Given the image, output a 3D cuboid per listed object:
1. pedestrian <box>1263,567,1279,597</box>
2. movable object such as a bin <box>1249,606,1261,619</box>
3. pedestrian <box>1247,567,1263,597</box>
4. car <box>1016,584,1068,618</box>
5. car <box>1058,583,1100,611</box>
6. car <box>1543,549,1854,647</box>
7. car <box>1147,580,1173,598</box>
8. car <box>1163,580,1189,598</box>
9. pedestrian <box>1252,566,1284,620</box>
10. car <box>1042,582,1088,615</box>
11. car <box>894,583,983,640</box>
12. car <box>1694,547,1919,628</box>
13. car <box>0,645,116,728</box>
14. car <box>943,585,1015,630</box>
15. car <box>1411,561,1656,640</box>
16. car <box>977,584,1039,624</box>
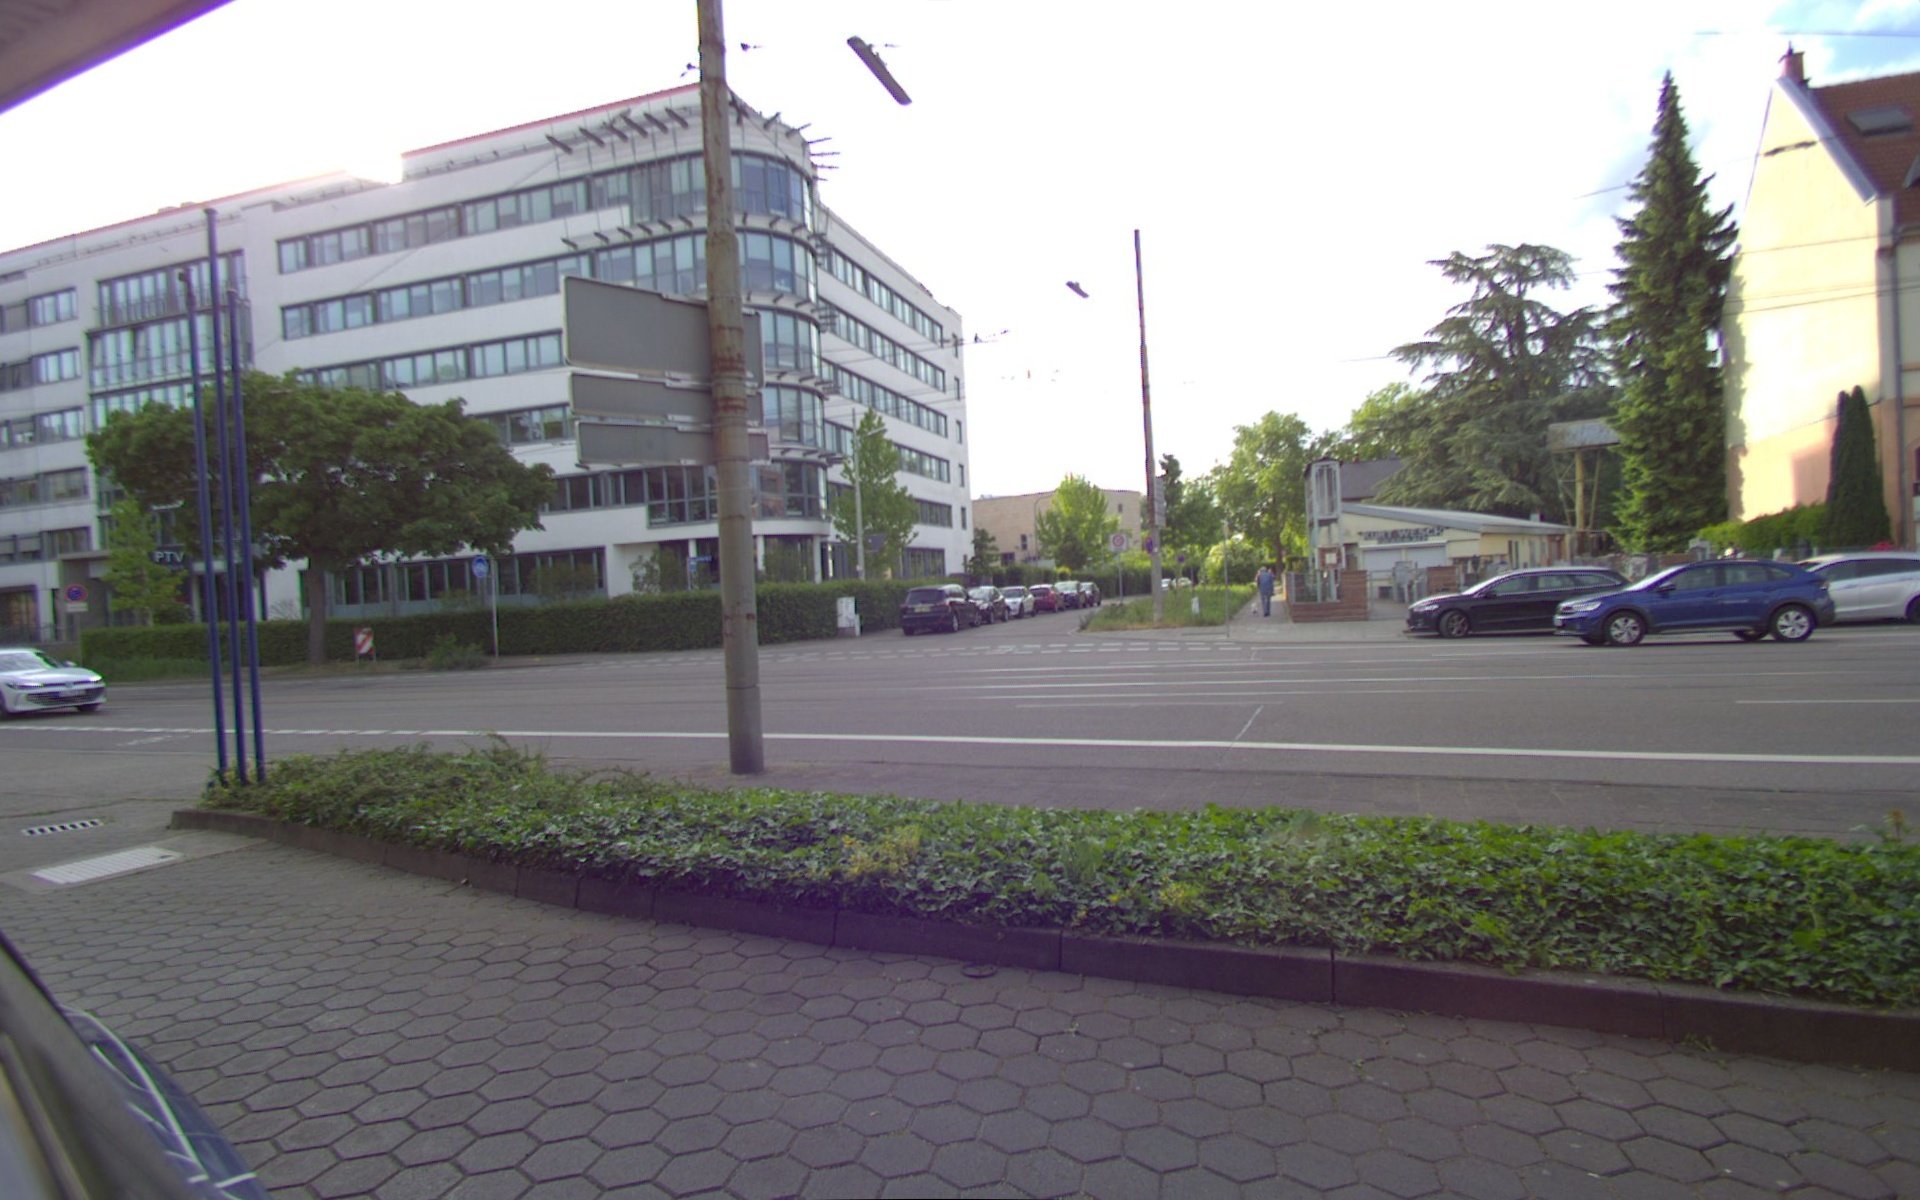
[{"bbox_3d":[20.016,-1.167,65.165,0.965,1.896,1.056,-1,0,18],"label":"pedestrian"},{"bbox_3d":[10.137,0.427,34.797,0.363,0.397,0.660,-2,2,14],"label":"movable object such as a bin"},{"bbox_3d":[19.077,-1.155,65.487,0.965,1.896,1.056,-1,0,18],"label":"pedestrian"},{"bbox_3d":[4.310,0.022,52.399,1.807,1.589,4.175,-4,0,16],"label":"car"},{"bbox_3d":[7.395,-0.213,62.563,1.807,1.585,4.052,-4,0,16],"label":"car"},{"bbox_3d":[13.255,-0.024,18.478,4.102,1.480,1.854,-3,0,17],"label":"car"},{"bbox_3d":[19.966,-1.133,100.900,1.811,1.654,4.044,-4,0,22],"label":"car"},{"bbox_3d":[22.843,-1.153,106.847,1.813,1.654,4.040,-4,0,25],"label":"car"},{"bbox_3d":[10.268,-0.243,33.797,0.901,1.712,0.921,-3,2,16],"label":"pedestrian"},{"bbox_3d":[6.041,-0.137,57.797,1.807,1.704,4.392,-4,0,16],"label":"car"},{"bbox_3d":[-0.676,0.356,35.558,1.807,1.701,4.370,-4,1,16],"label":"car"},{"bbox_3d":[18.417,-0.271,21.390,4.349,1.493,1.732,-3,1,22],"label":"car"},{"bbox_3d":[-21.061,1.880,22.157,4.794,1.520,1.851,-2,2,22],"label":"car"},{"bbox_3d":[0.841,0.269,40.973,1.807,1.589,4.175,-4,0,16],"label":"car"},{"bbox_3d":[13.024,0.005,23.360,4.632,1.533,1.842,-3,2,22],"label":"car"},{"bbox_3d":[2.234,0.151,45.678,1.807,1.589,4.175,-4,0,16],"label":"car"}]
